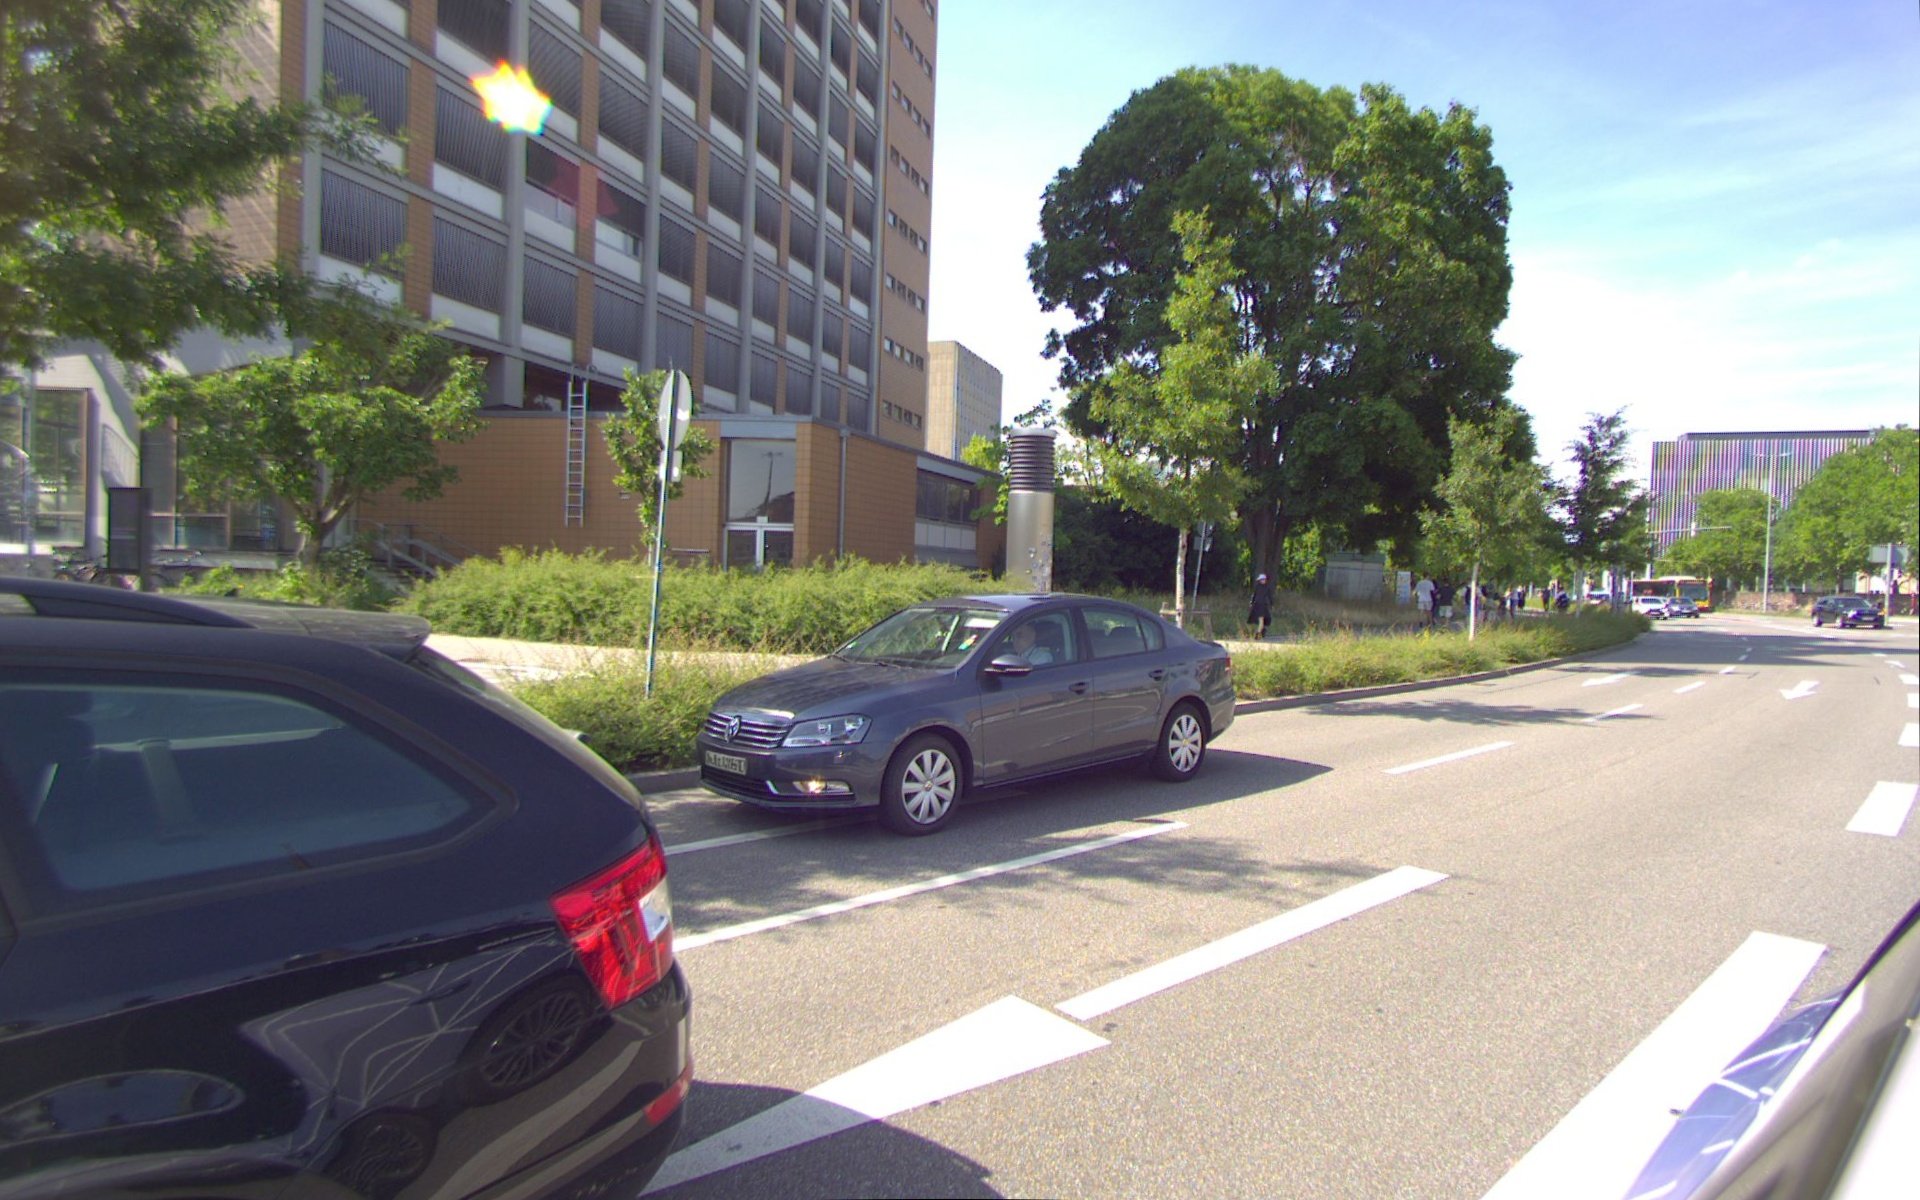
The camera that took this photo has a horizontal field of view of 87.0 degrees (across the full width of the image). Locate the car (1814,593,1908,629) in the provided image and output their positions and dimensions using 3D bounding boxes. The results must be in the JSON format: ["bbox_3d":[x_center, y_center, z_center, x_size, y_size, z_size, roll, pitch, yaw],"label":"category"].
[{"bbox_3d":[46.741,0.534,52.596,1.731,1.751,4.100,0,0,11],"label":"car"}]

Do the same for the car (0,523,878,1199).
[{"bbox_3d":[-2.445,0.632,1.086,4.698,1.453,1.633,-1,1,-42],"label":"car"}]

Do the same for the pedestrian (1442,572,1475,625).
[{"bbox_3d":[15.920,-0.050,32.329,0.719,1.646,0.643,0,3,-41],"label":"pedestrian"}]

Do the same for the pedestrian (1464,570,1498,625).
[{"bbox_3d":[16.618,-0.087,32.269,0.739,1.694,0.643,0,3,-41],"label":"pedestrian"}]

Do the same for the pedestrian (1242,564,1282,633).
[{"bbox_3d":[7.531,-0.045,25.246,0.719,1.684,0.592,0,3,-41],"label":"pedestrian"}]

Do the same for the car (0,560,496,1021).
[{"bbox_3d":[-4.163,0.596,3.504,4.321,1.447,1.704,1,3,-41],"label":"car"}]

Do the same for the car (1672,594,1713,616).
[{"bbox_3d":[51.363,0.347,71.001,1.635,1.442,4.083,0,0,26],"label":"car"}]

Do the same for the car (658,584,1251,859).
[{"bbox_3d":[0.216,0.613,7.490,4.451,1.453,1.633,-1,1,-42],"label":"car"}]

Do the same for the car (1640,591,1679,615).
[{"bbox_3d":[45.416,0.186,65.741,1.667,1.493,3.723,0,0,28],"label":"car"}]

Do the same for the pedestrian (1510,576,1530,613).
[{"bbox_3d":[23.111,-0.238,41.759,0.638,1.464,0.564,3,3,29],"label":"pedestrian"}]

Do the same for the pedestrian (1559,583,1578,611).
[{"bbox_3d":[26.541,-0.136,44.112,0.639,1.145,0.743,4,3,33],"label":"pedestrian"}]

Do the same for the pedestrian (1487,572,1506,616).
[{"bbox_3d":[22.348,-0.249,42.160,0.638,1.785,0.470,3,3,29],"label":"pedestrian"}]

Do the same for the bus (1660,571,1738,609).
[{"bbox_3d":[66.160,-0.915,90.934,2.765,3.076,12.058,2,1,22],"label":"bus"}]

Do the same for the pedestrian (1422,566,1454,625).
[{"bbox_3d":[15.501,-0.157,32.827,0.719,1.860,0.643,0,3,-41],"label":"pedestrian"}]
